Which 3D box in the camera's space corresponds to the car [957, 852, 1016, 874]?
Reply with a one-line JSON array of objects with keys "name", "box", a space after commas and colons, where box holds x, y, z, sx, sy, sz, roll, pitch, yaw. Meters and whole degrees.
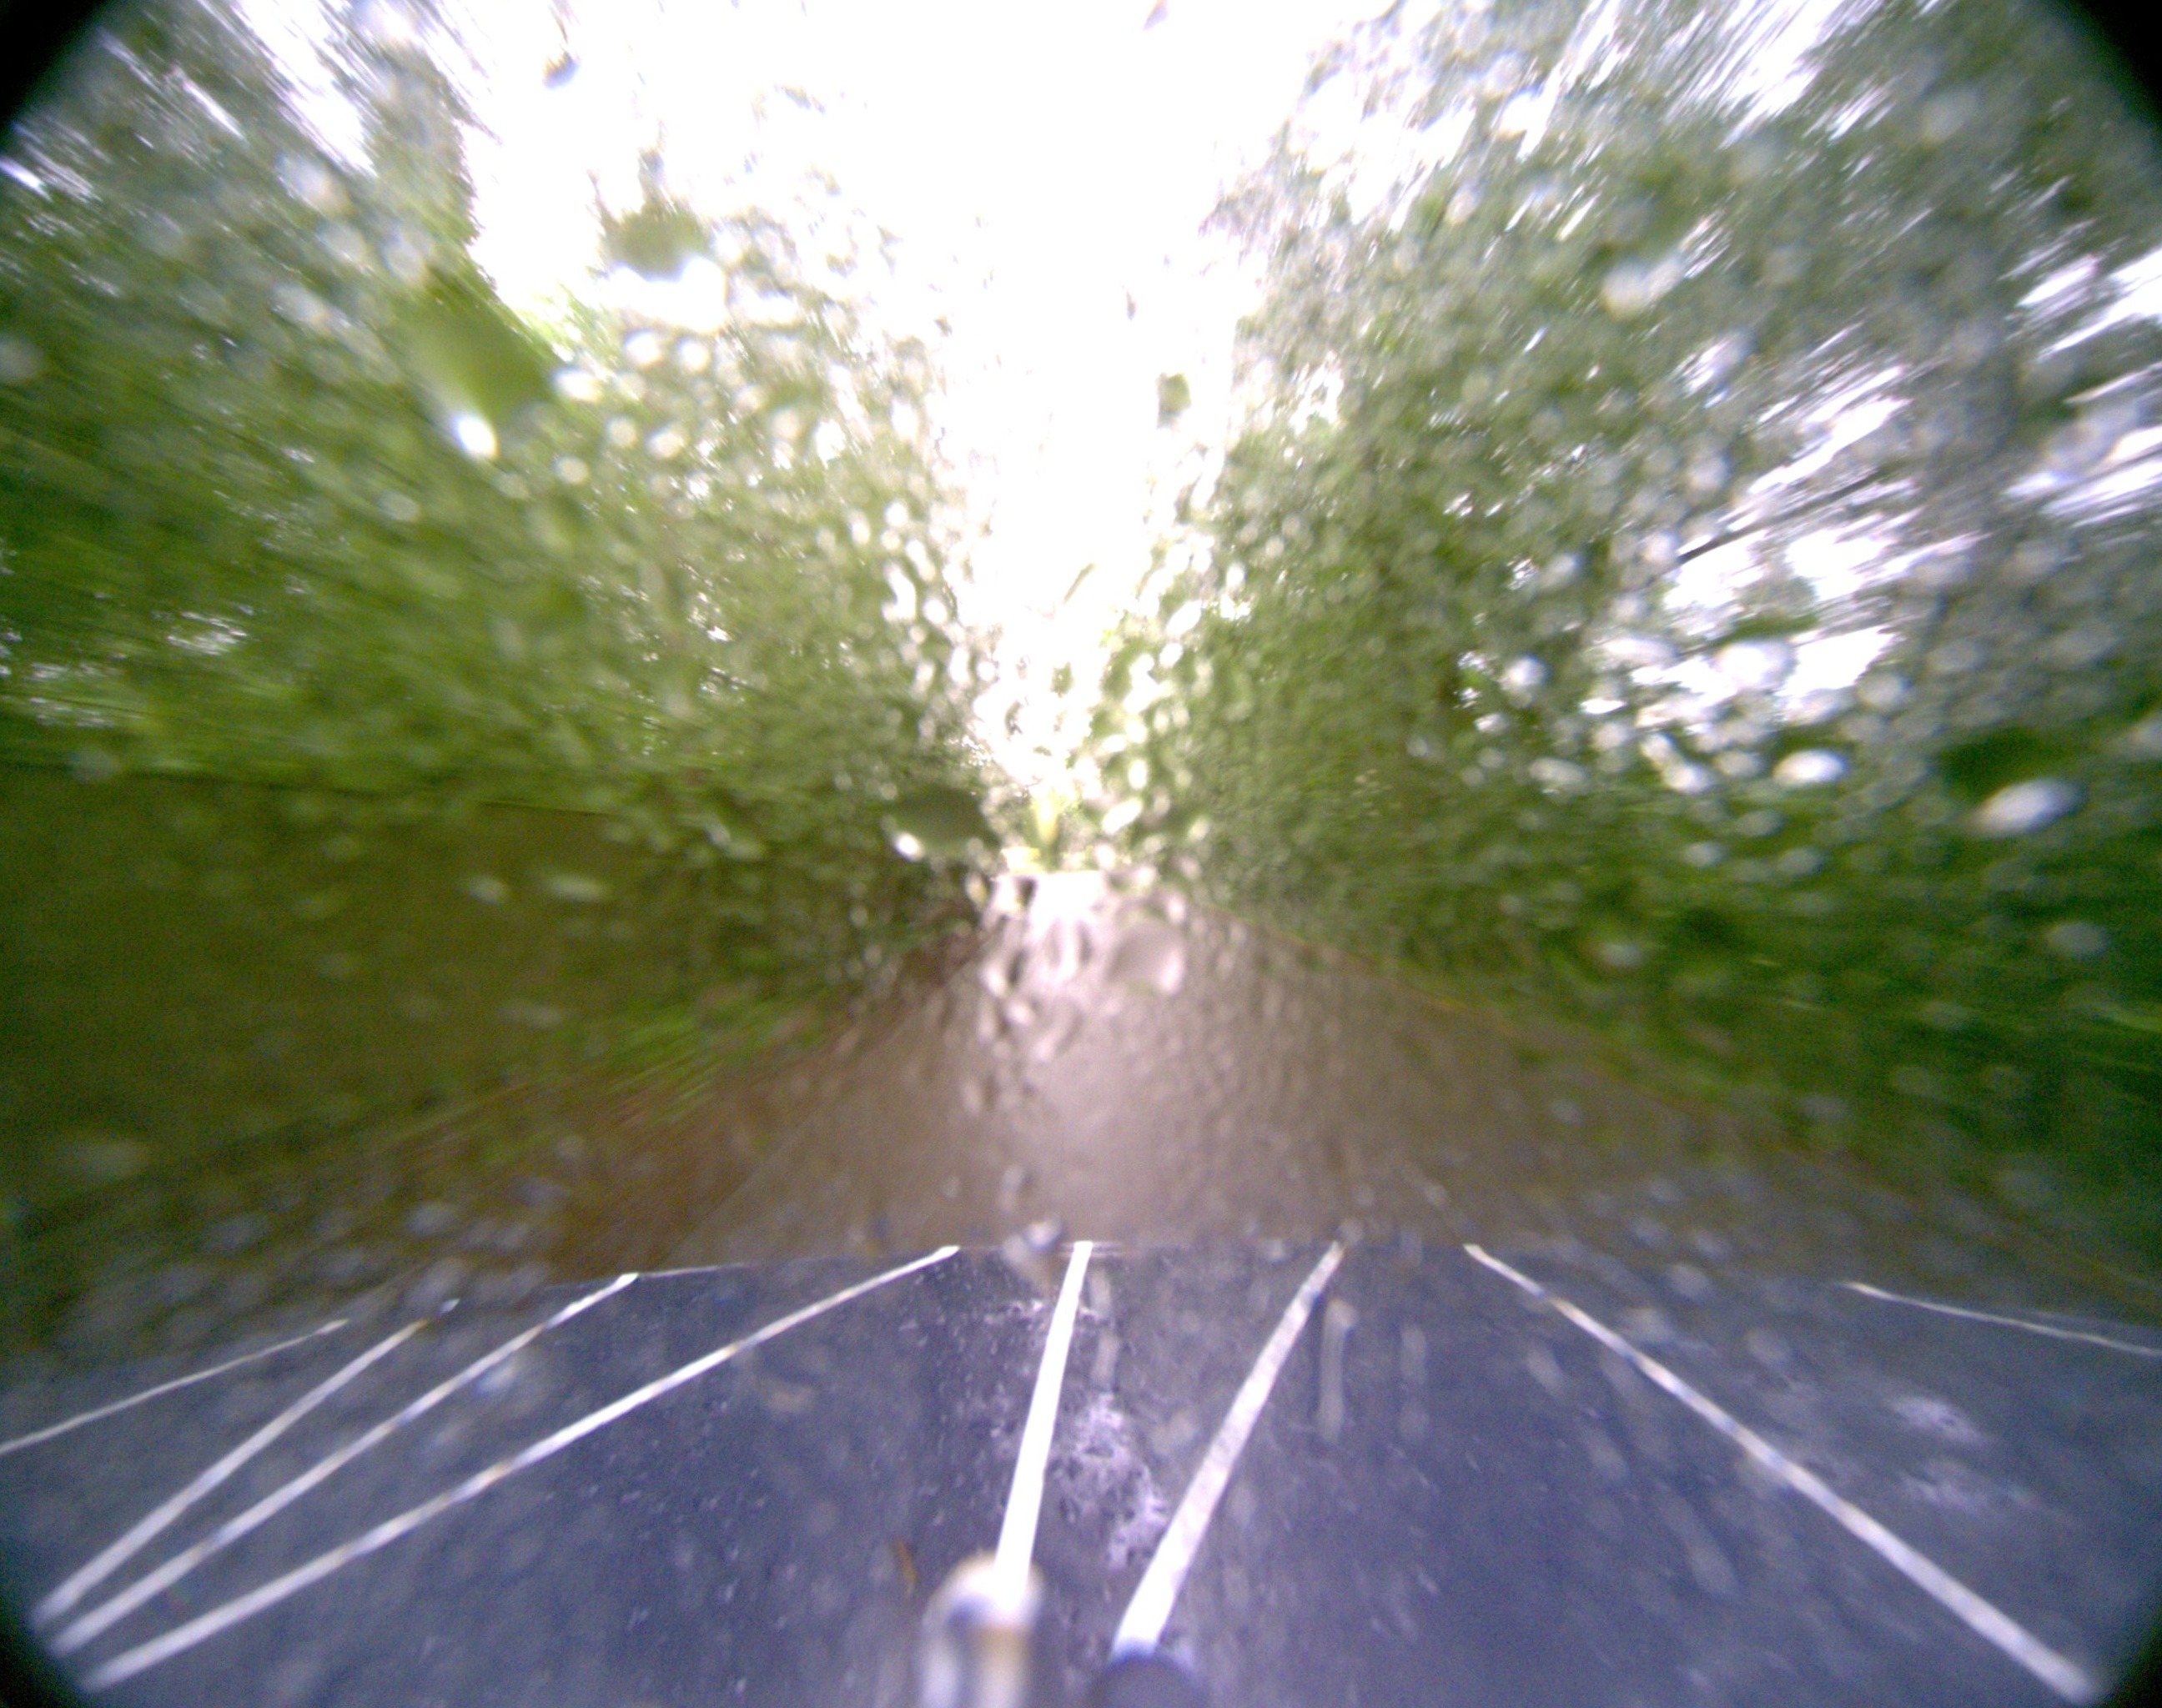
[{"name": "car", "box": [-6.597, 0.615, 53.266, 3.713, 1.427, 1.708, -1, 0, 12]}]
